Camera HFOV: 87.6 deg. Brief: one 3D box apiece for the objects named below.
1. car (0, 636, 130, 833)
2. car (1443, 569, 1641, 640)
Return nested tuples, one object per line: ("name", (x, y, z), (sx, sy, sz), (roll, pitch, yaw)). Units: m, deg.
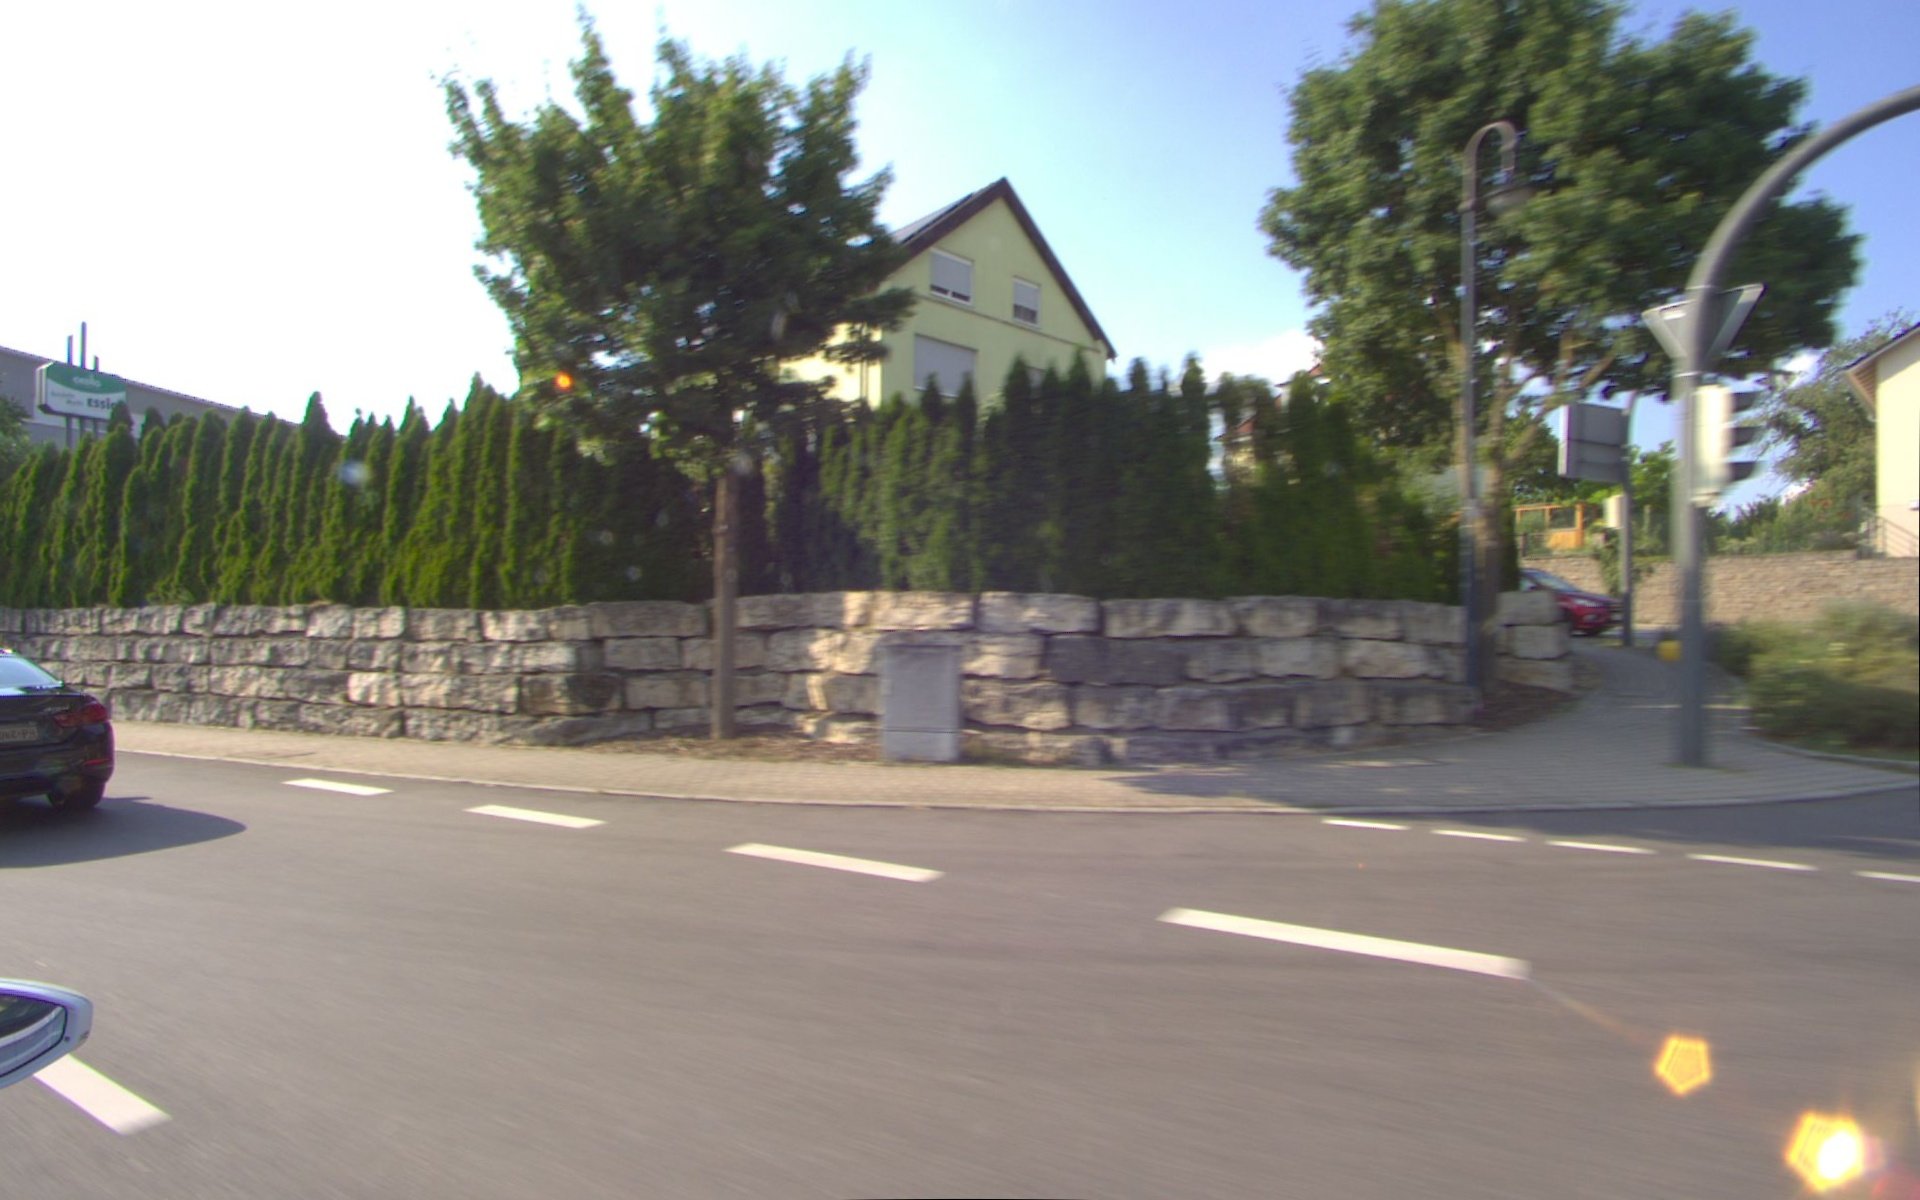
("car", (-8.822, 1.011, 8.208), (4.197, 1.387, 1.698), (0, 0, 29))
("car", (14.879, 0.162, 25.810), (1.972, 1.664, 3.978), (1, -1, -31))
